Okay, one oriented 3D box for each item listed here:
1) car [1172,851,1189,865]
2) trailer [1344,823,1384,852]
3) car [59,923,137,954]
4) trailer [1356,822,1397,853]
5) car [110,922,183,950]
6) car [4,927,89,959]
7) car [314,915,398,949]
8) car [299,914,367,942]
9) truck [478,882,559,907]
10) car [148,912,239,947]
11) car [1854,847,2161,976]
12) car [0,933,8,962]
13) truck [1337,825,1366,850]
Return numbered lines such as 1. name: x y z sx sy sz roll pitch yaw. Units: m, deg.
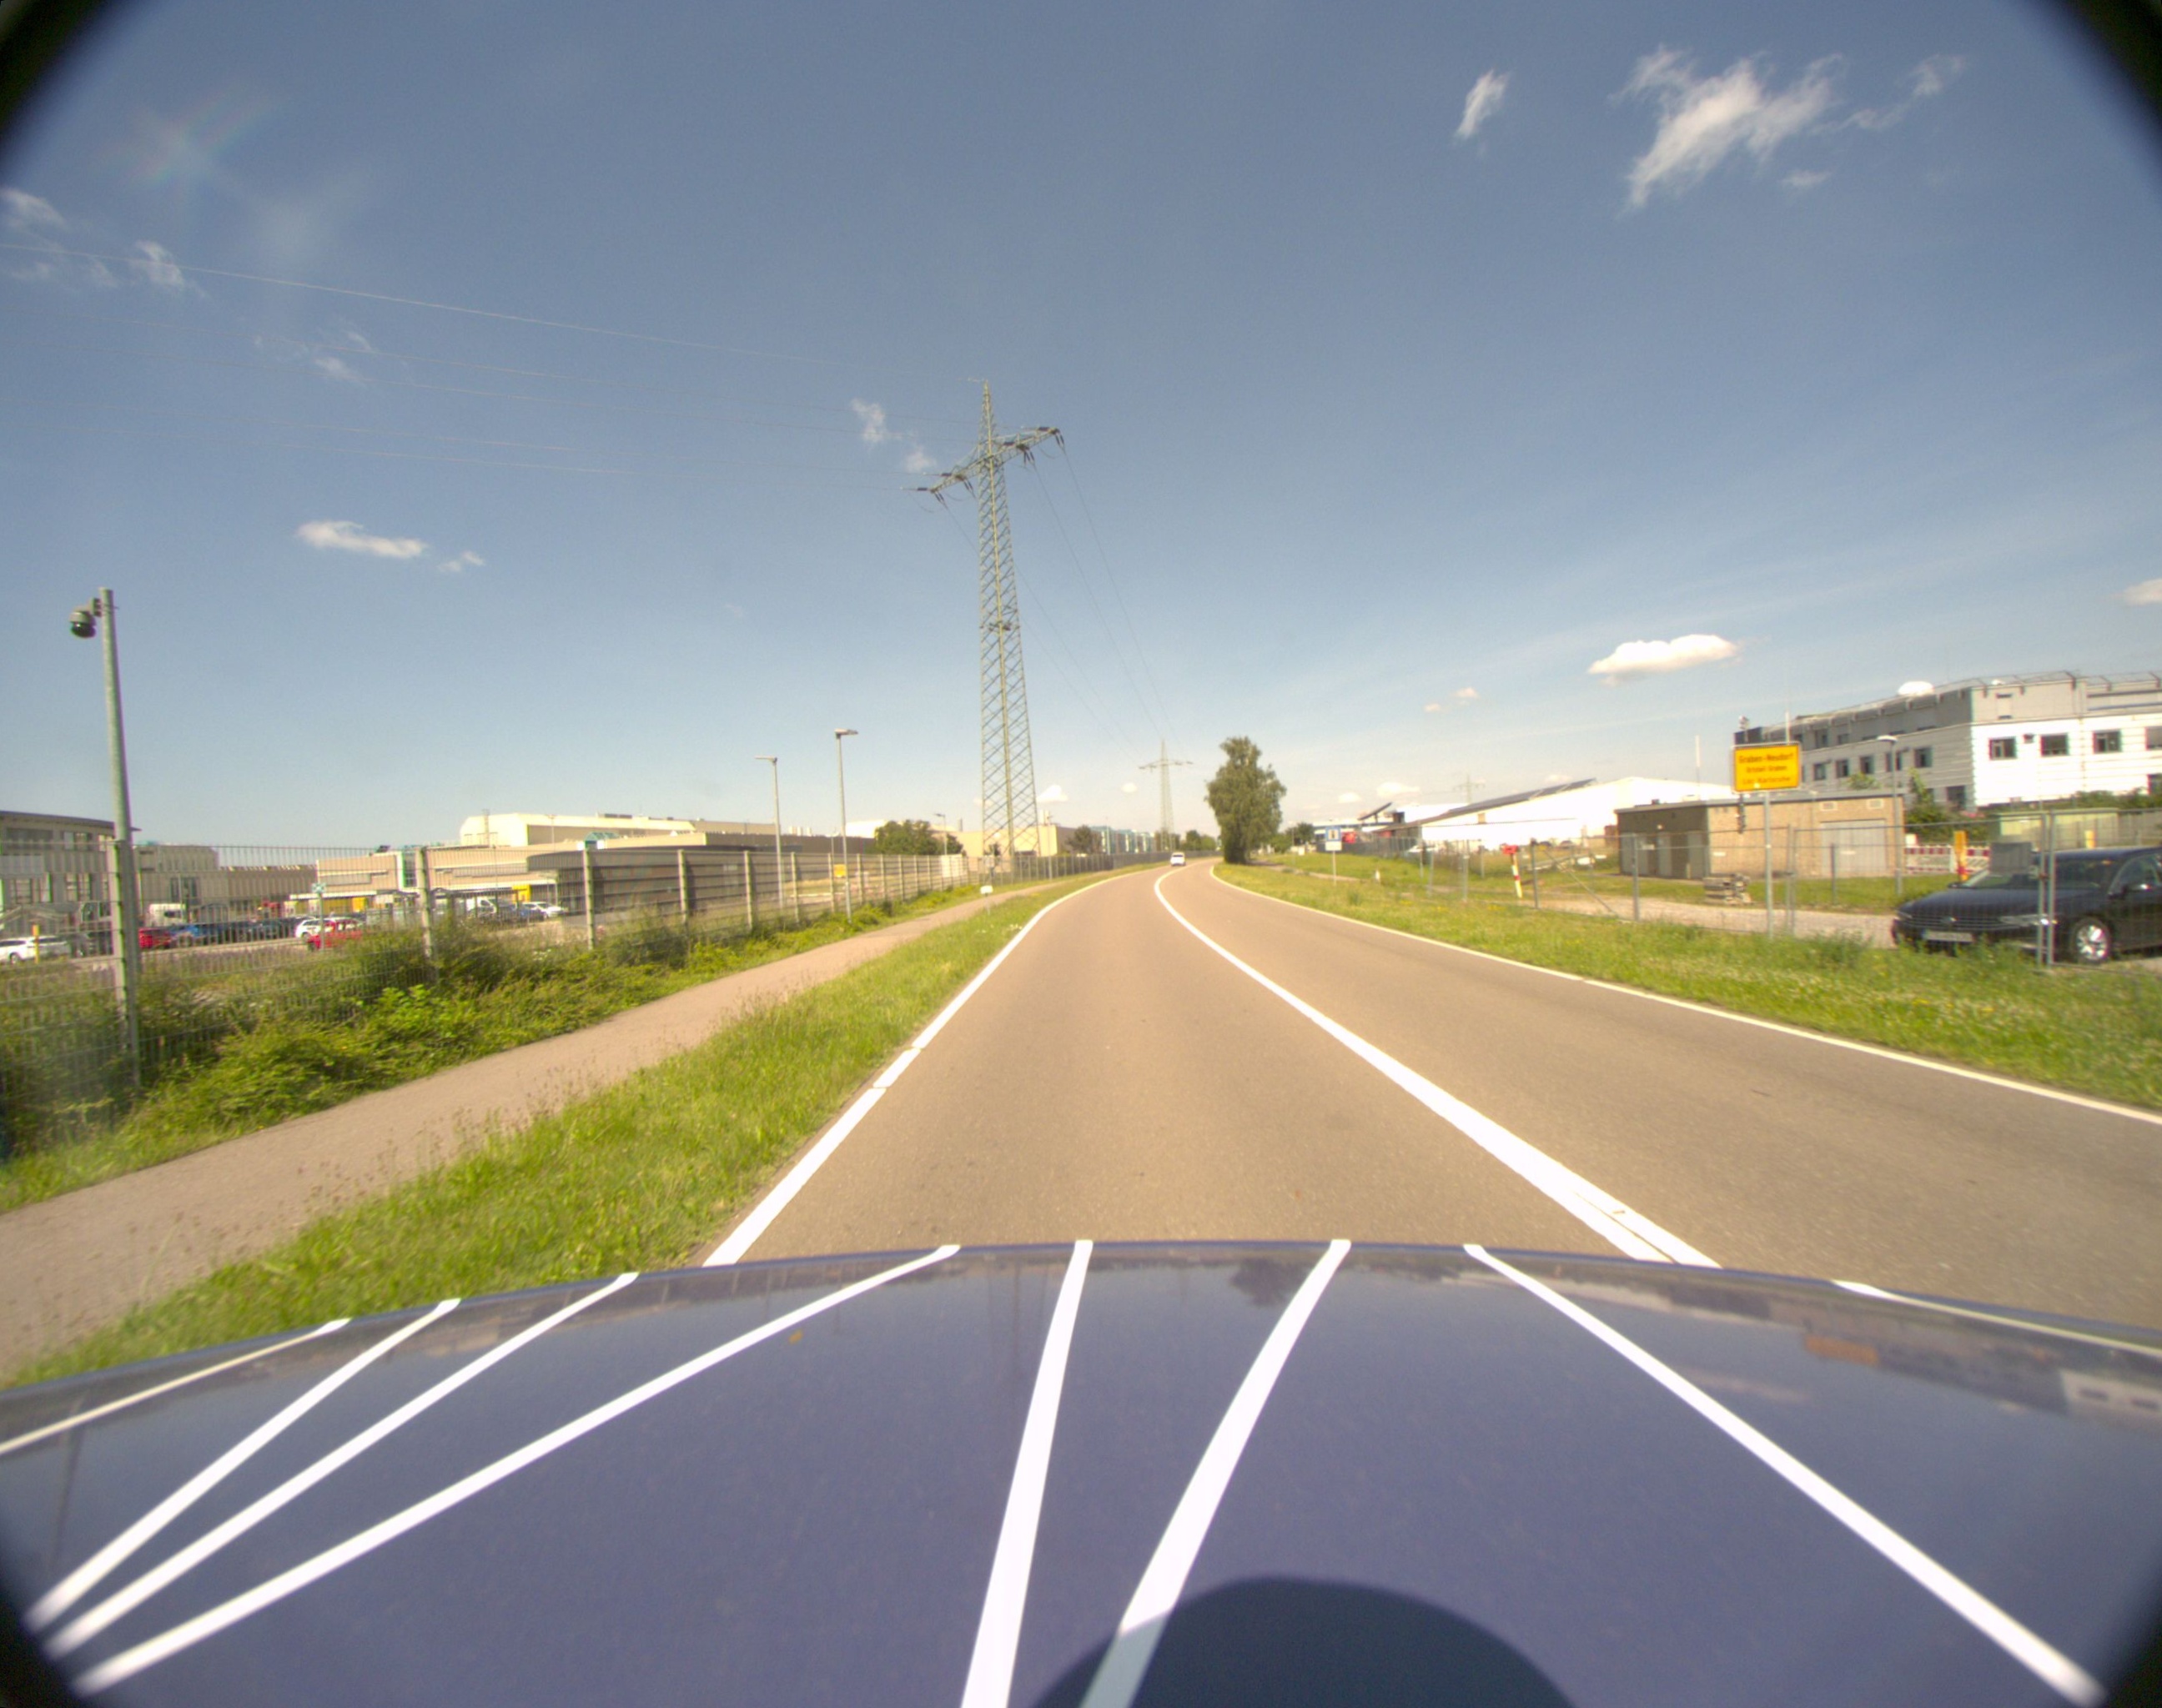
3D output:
1. car: 13.836 0.536 105.408 1.835 1.796 4.834 -2 0 12
2. trailer: 39.236 -2.246 105.930 3.295 3.624 14.937 -2 1 13
3. car: -59.494 5.094 46.002 3.054 1.525 1.472 -3 0 7
4. trailer: 36.618 -2.029 94.443 3.404 3.624 8.666 -2 1 13
5. car: -59.658 5.225 48.516 3.054 1.525 1.472 -3 0 7
6. car: -59.149 5.096 43.463 3.054 1.525 1.472 -3 0 7
7. car: -38.796 4.172 40.687 3.149 1.525 1.456 -3 0 6
8. car: -48.551 4.798 49.336 3.054 1.525 1.472 -3 0 7
9. truck: -88.592 6.267 120.057 1.997 3.119 11.861 -4 0 12
10. car: -63.143 5.369 54.074 4.746 2.002 2.001 -4 0 10
11. car: 14.253 0.707 10.800 4.985 1.408 1.999 -3 0 -8
12. car: -59.904 5.156 40.668 3.054 1.525 1.472 -3 0 7
13. truck: 42.040 -2.481 118.370 3.106 3.624 10.602 -2 1 13
